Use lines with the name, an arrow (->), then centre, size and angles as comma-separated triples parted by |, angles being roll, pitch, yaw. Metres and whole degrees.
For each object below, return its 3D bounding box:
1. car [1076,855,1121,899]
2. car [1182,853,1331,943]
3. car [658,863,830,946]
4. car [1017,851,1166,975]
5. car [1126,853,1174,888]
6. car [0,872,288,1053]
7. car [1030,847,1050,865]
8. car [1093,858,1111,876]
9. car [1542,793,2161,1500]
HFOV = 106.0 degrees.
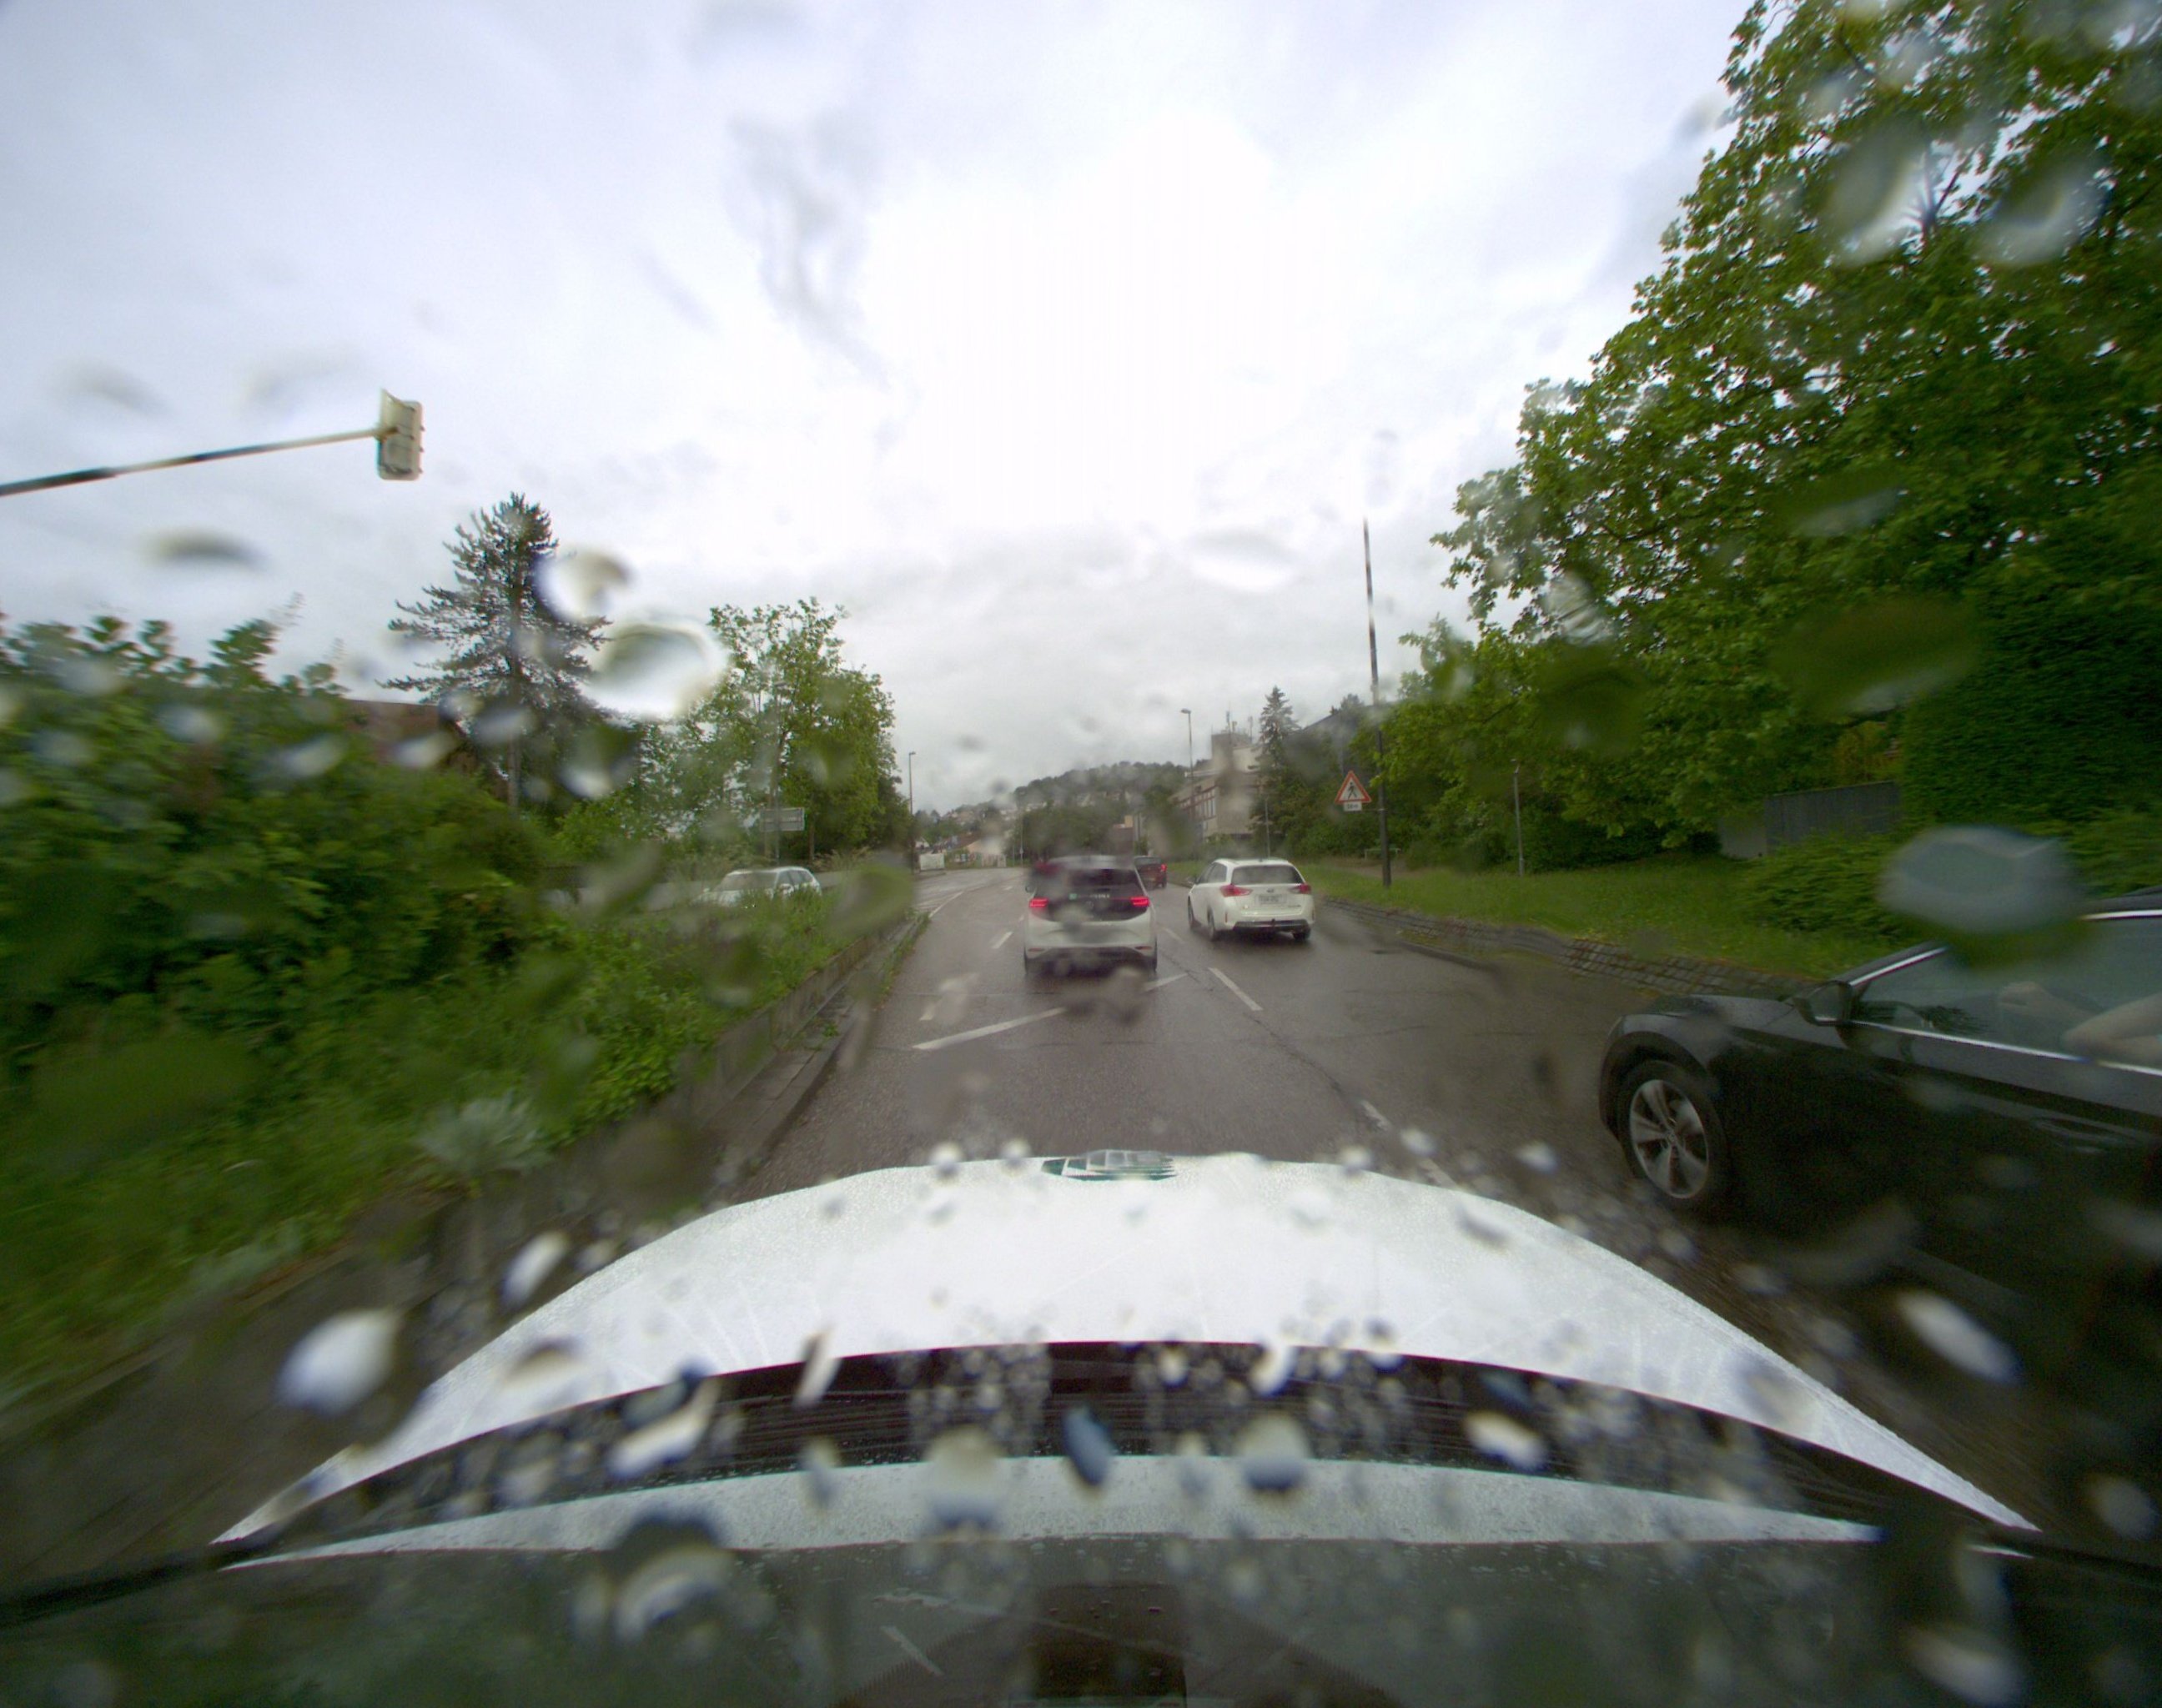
car -> 0.634, 0.819, 31.119 | 1.562, 1.530, 4.000 | -2, 0, 0
car -> 3.109, 0.748, 15.343 | 1.842, 1.410, 4.300 | -1, -1, -1
car -> -7.772, 1.086, 19.361 | 1.986, 1.662, 4.599 | -2, -1, 2
car -> 0.234, 0.764, 12.169 | 1.821, 1.500, 4.171 | -1, -1, 3
car -> 3.186, 0.778, 38.252 | 1.985, 1.453, 3.773 | -4, -1, 3
car -> -11.180, 1.087, 8.077 | 1.986, 1.662, 4.599 | -2, -1, 2
car -> -4.782, 0.283, 95.524 | 1.987, 2.014, 4.000 | 0, -1, 1
car -> 2.490, 1.451, 94.026 | 1.985, 2.014, 4.002 | -1, -1, 3
car -> 3.287, 0.638, 1.860 | 1.947, 1.507, 4.609 | 1, -1, 1
